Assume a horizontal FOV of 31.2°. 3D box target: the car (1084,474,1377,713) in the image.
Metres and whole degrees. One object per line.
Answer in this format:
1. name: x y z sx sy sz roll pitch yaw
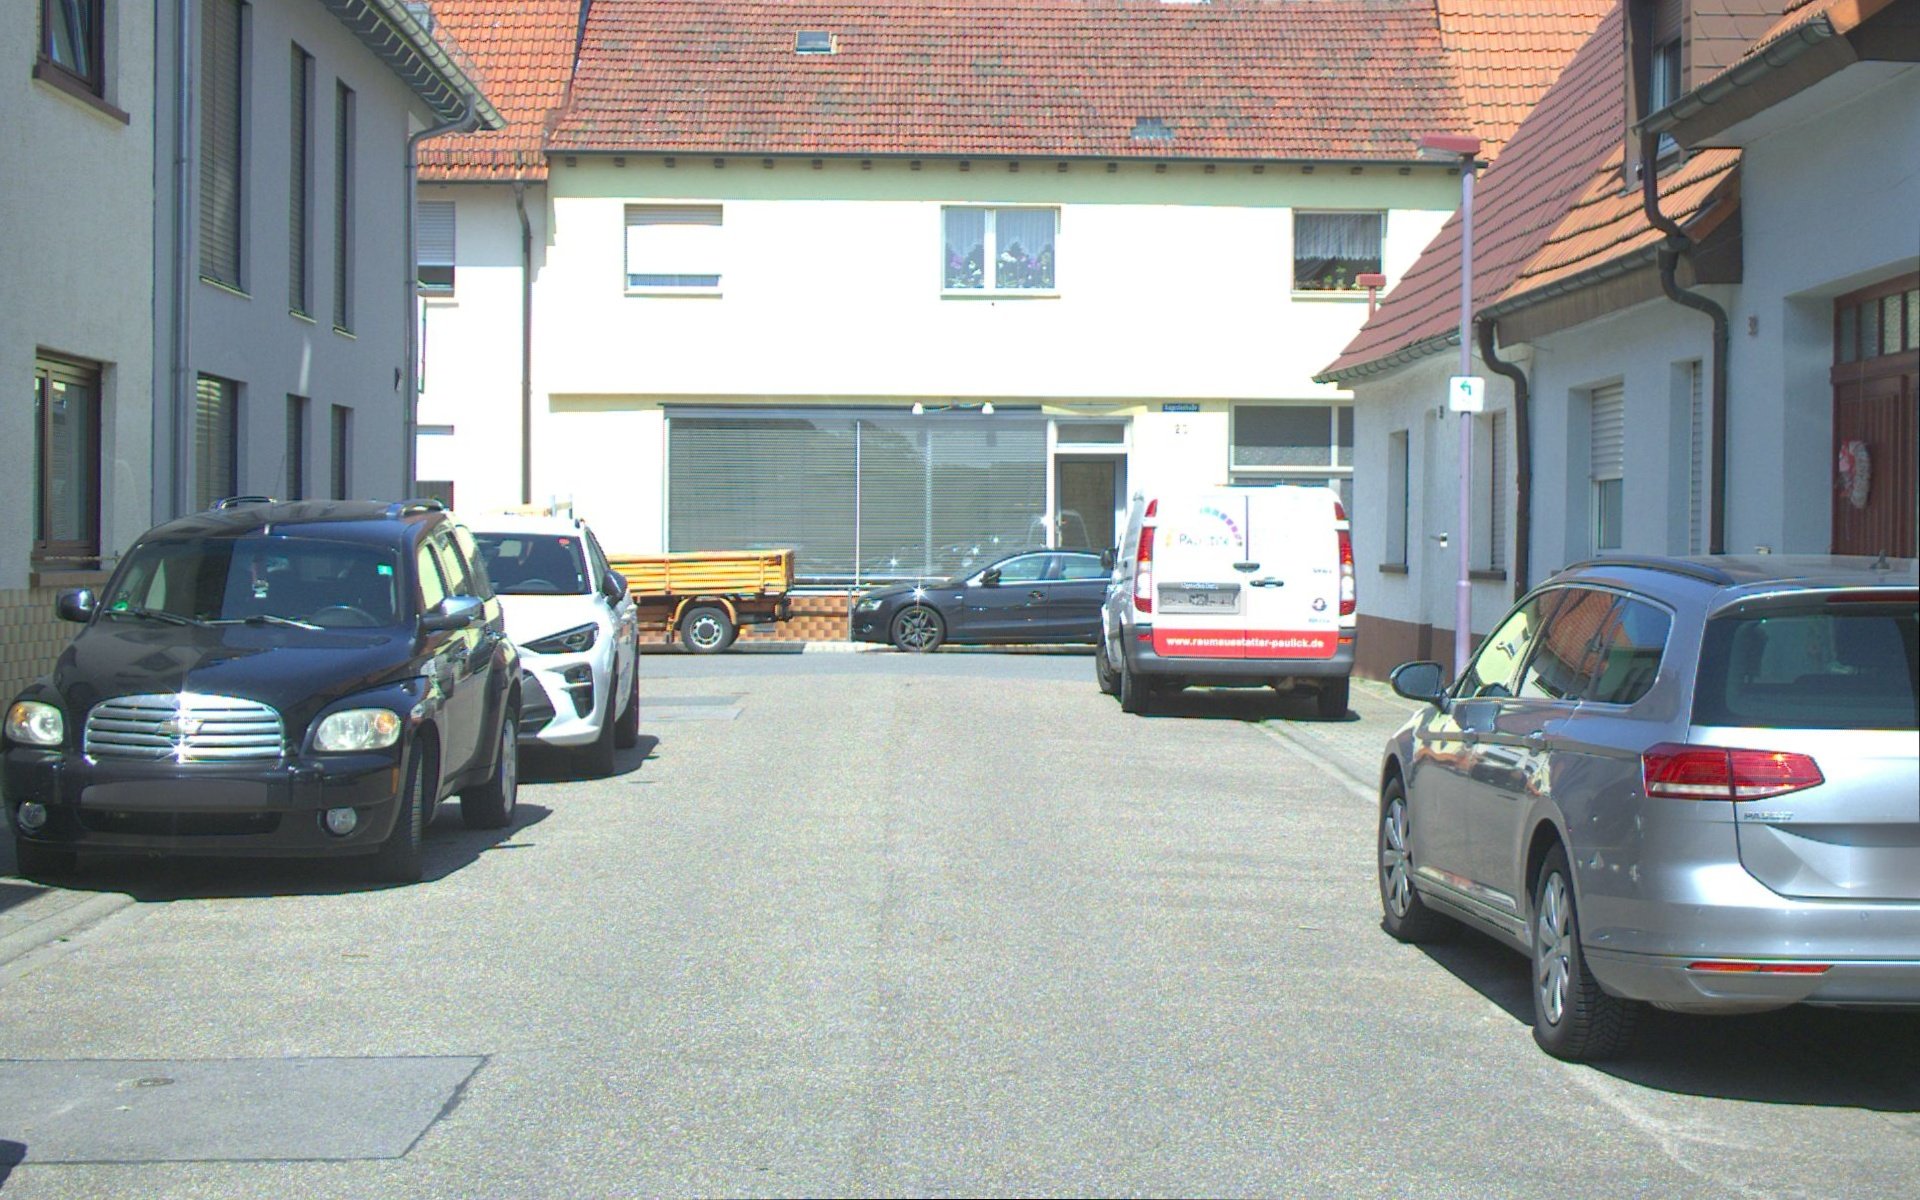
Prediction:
1. car: 2.233 -0.102 29.794 2.012 1.832 5.266 2 1 -1

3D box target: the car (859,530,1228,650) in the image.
1. car: 1.025 -0.110 44.152 4.616 1.389 1.928 1 -2 -2

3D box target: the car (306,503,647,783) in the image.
1. car: -2.992 0.211 22.066 1.774 1.610 4.350 0 1 -3

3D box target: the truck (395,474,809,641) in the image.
1. truck: -4.529 -0.544 44.149 5.063 2.007 2.190 1 0 0

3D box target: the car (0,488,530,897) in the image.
1. car: -3.093 0.331 15.583 1.722 1.610 3.989 0 1 1

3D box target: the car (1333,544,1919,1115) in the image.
1. car: 2.495 0.570 11.292 1.838 1.443 4.777 2 1 -2
